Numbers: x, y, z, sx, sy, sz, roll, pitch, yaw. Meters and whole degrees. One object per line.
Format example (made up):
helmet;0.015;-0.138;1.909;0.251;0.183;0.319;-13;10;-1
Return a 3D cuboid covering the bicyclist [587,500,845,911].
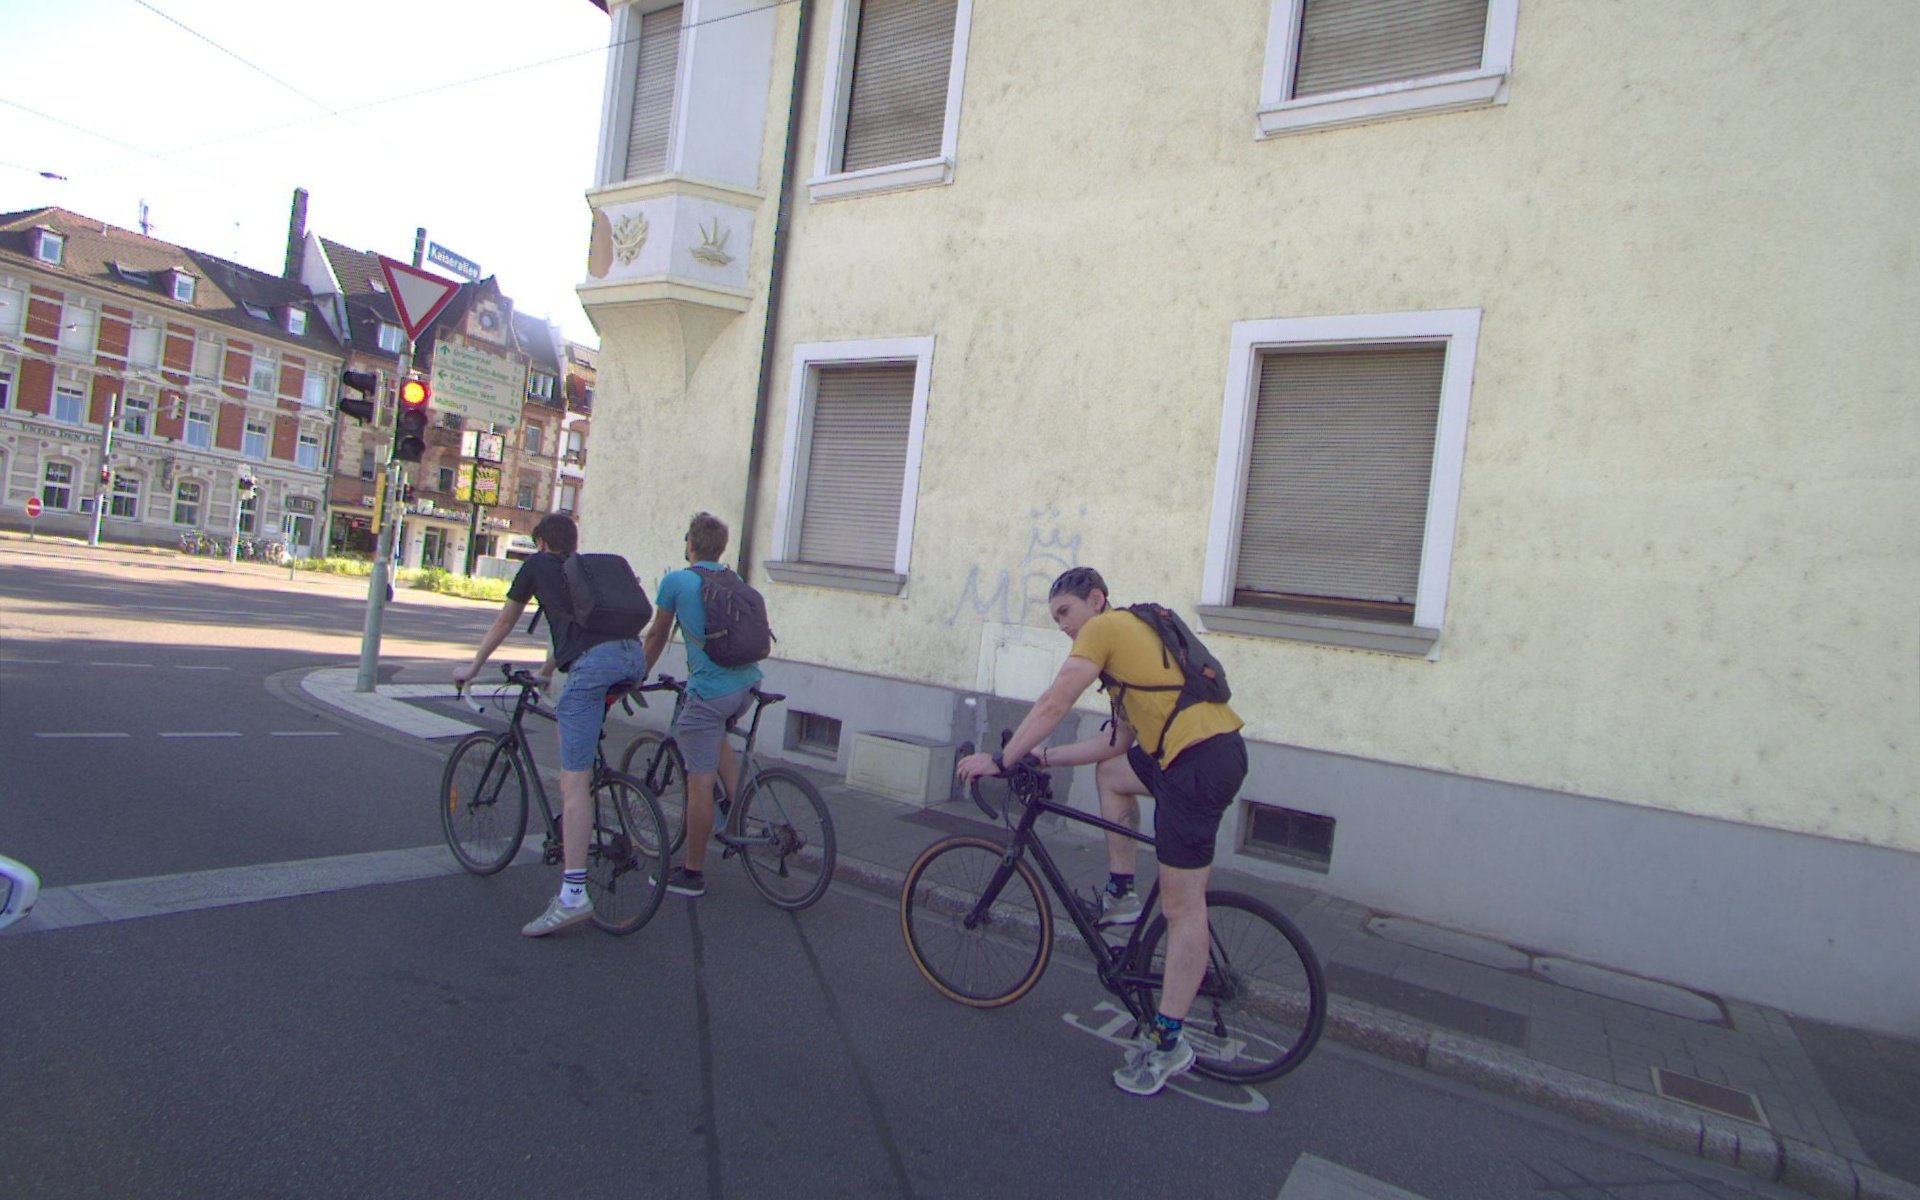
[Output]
bicyclist;-1.273;0.498;5.250;0.961;1.917;0.602;6;-1;34

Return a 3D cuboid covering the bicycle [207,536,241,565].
bicycle;-34.211;-2.306;46.761;2.140;1.157;0.618;7;0;37

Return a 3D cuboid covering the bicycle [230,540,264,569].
bicycle;-33.678;-2.159;47.513;2.140;1.157;0.618;7;0;37

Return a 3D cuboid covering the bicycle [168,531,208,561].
bicycle;-35.060;-2.444;45.682;2.140;1.157;0.806;7;0;37

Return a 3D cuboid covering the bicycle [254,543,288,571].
bicycle;-33.113;-2.066;48.317;2.102;1.150;0.609;7;0;37

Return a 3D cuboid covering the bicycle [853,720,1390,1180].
bicycle;0.549;1.145;3.770;1.780;1.101;0.611;7;0;32

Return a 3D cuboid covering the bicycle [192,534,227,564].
bicycle;-34.546;-2.354;46.284;2.140;1.157;0.618;7;0;37

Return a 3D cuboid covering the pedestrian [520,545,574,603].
pedestrian;-16.566;-1.038;40.380;1.285;2.068;1.321;7;0;31

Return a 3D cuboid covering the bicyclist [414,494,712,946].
bicyclist;-1.806;0.471;4.549;1.083;1.775;0.562;7;0;34

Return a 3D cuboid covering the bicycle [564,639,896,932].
bicycle;-1.257;0.884;5.284;1.784;1.130;0.519;7;0;34

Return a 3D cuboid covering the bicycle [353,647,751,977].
bicycle;-1.917;0.853;4.595;1.897;1.023;0.645;7;0;34

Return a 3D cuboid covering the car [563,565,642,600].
car;-23.170;-1.122;65.323;2.116;1.660;4.340;7;-1;31

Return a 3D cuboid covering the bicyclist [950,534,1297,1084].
bicyclist;0.613;0.690;3.770;0.939;1.742;0.582;7;0;32
